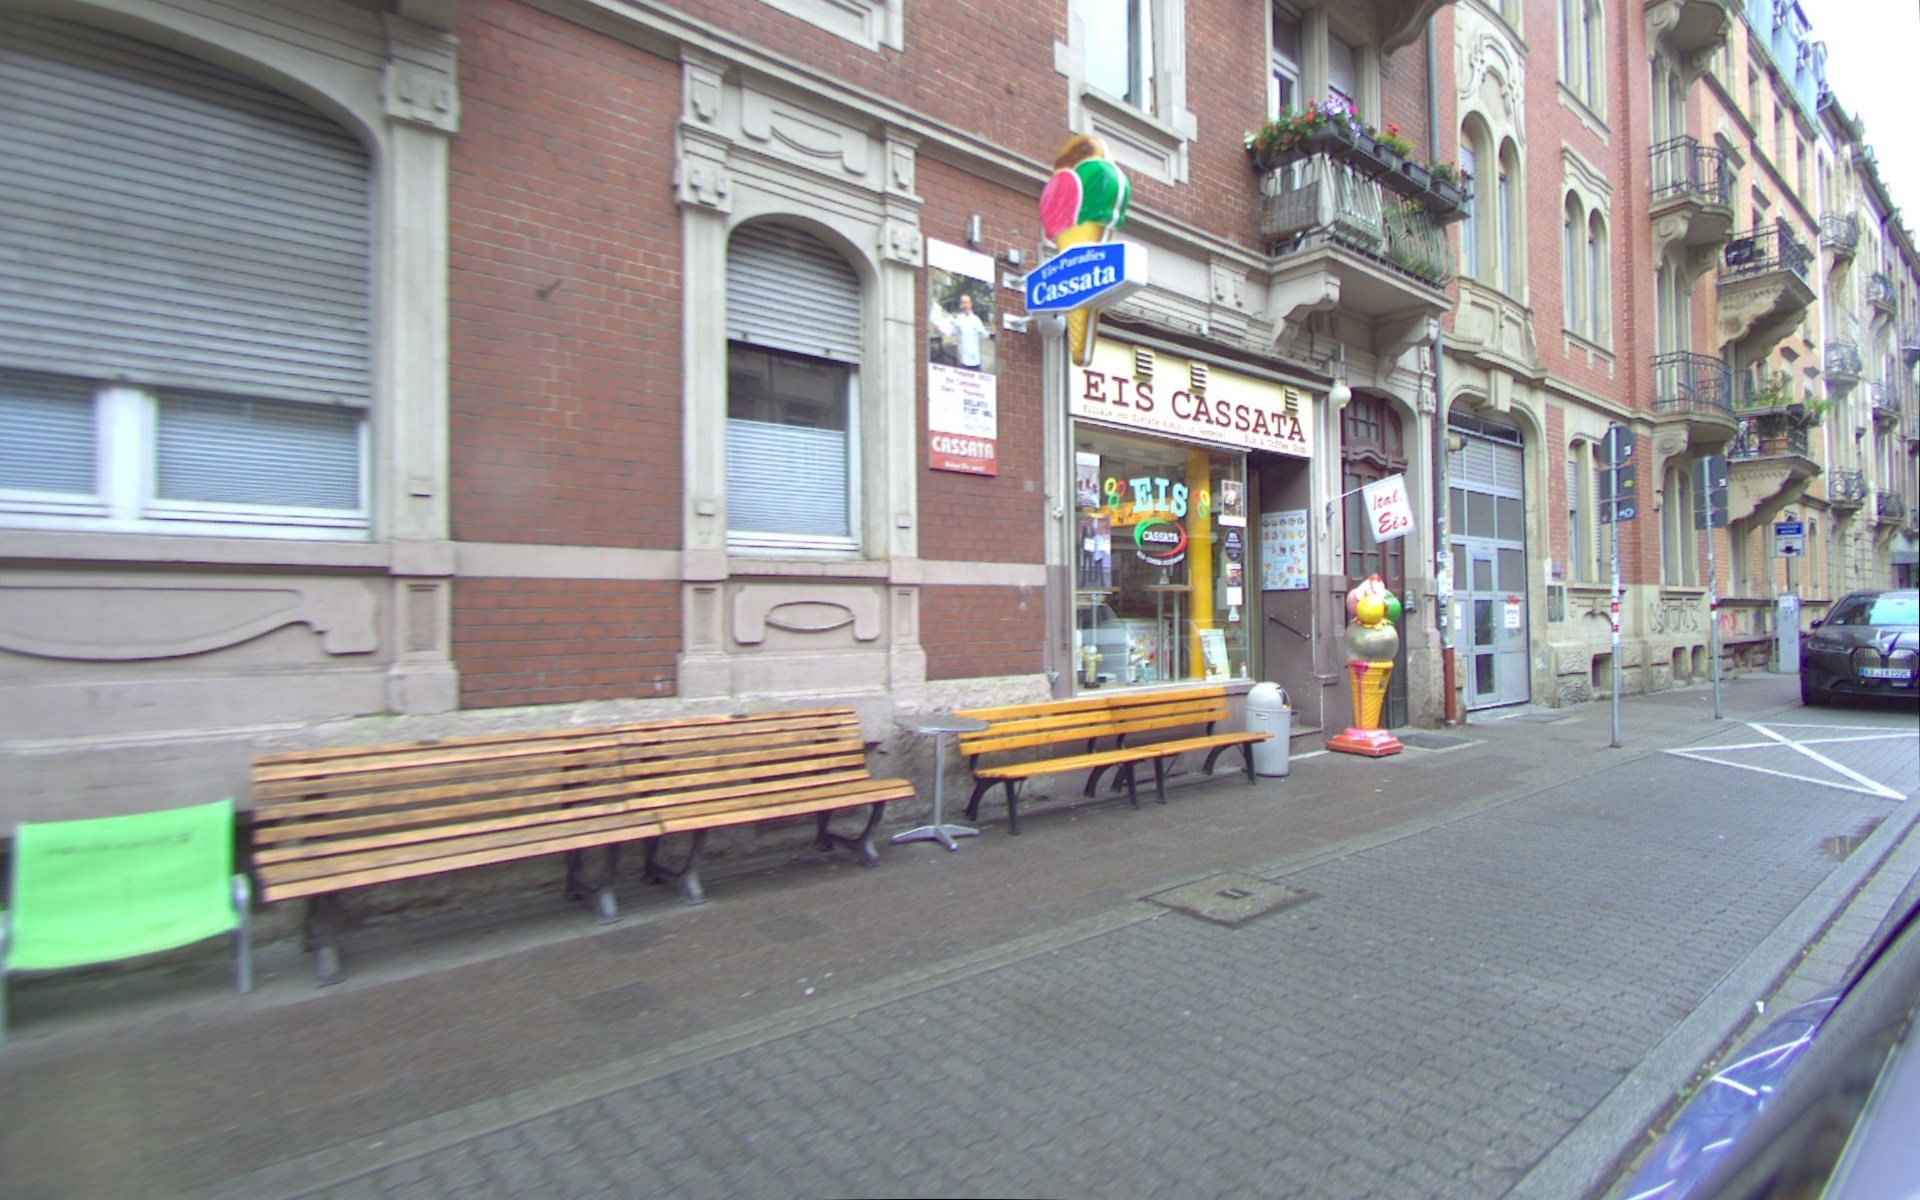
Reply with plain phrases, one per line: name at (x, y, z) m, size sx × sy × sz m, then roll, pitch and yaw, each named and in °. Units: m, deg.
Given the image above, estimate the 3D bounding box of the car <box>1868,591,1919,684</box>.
car at (18.197, 0.641, 18.461) m, size 4.268 × 1.581 × 1.875 m, roll 0°, pitch 0°, yaw -40°

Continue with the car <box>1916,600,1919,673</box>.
car at (22.129, 0.681, 21.763) m, size 4.405 × 1.485 × 1.790 m, roll -3°, pitch 1°, yaw -40°

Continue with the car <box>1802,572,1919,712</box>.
car at (14.016, 0.531, 14.759) m, size 4.743 × 1.802 × 1.996 m, roll 0°, pitch 0°, yaw -42°
